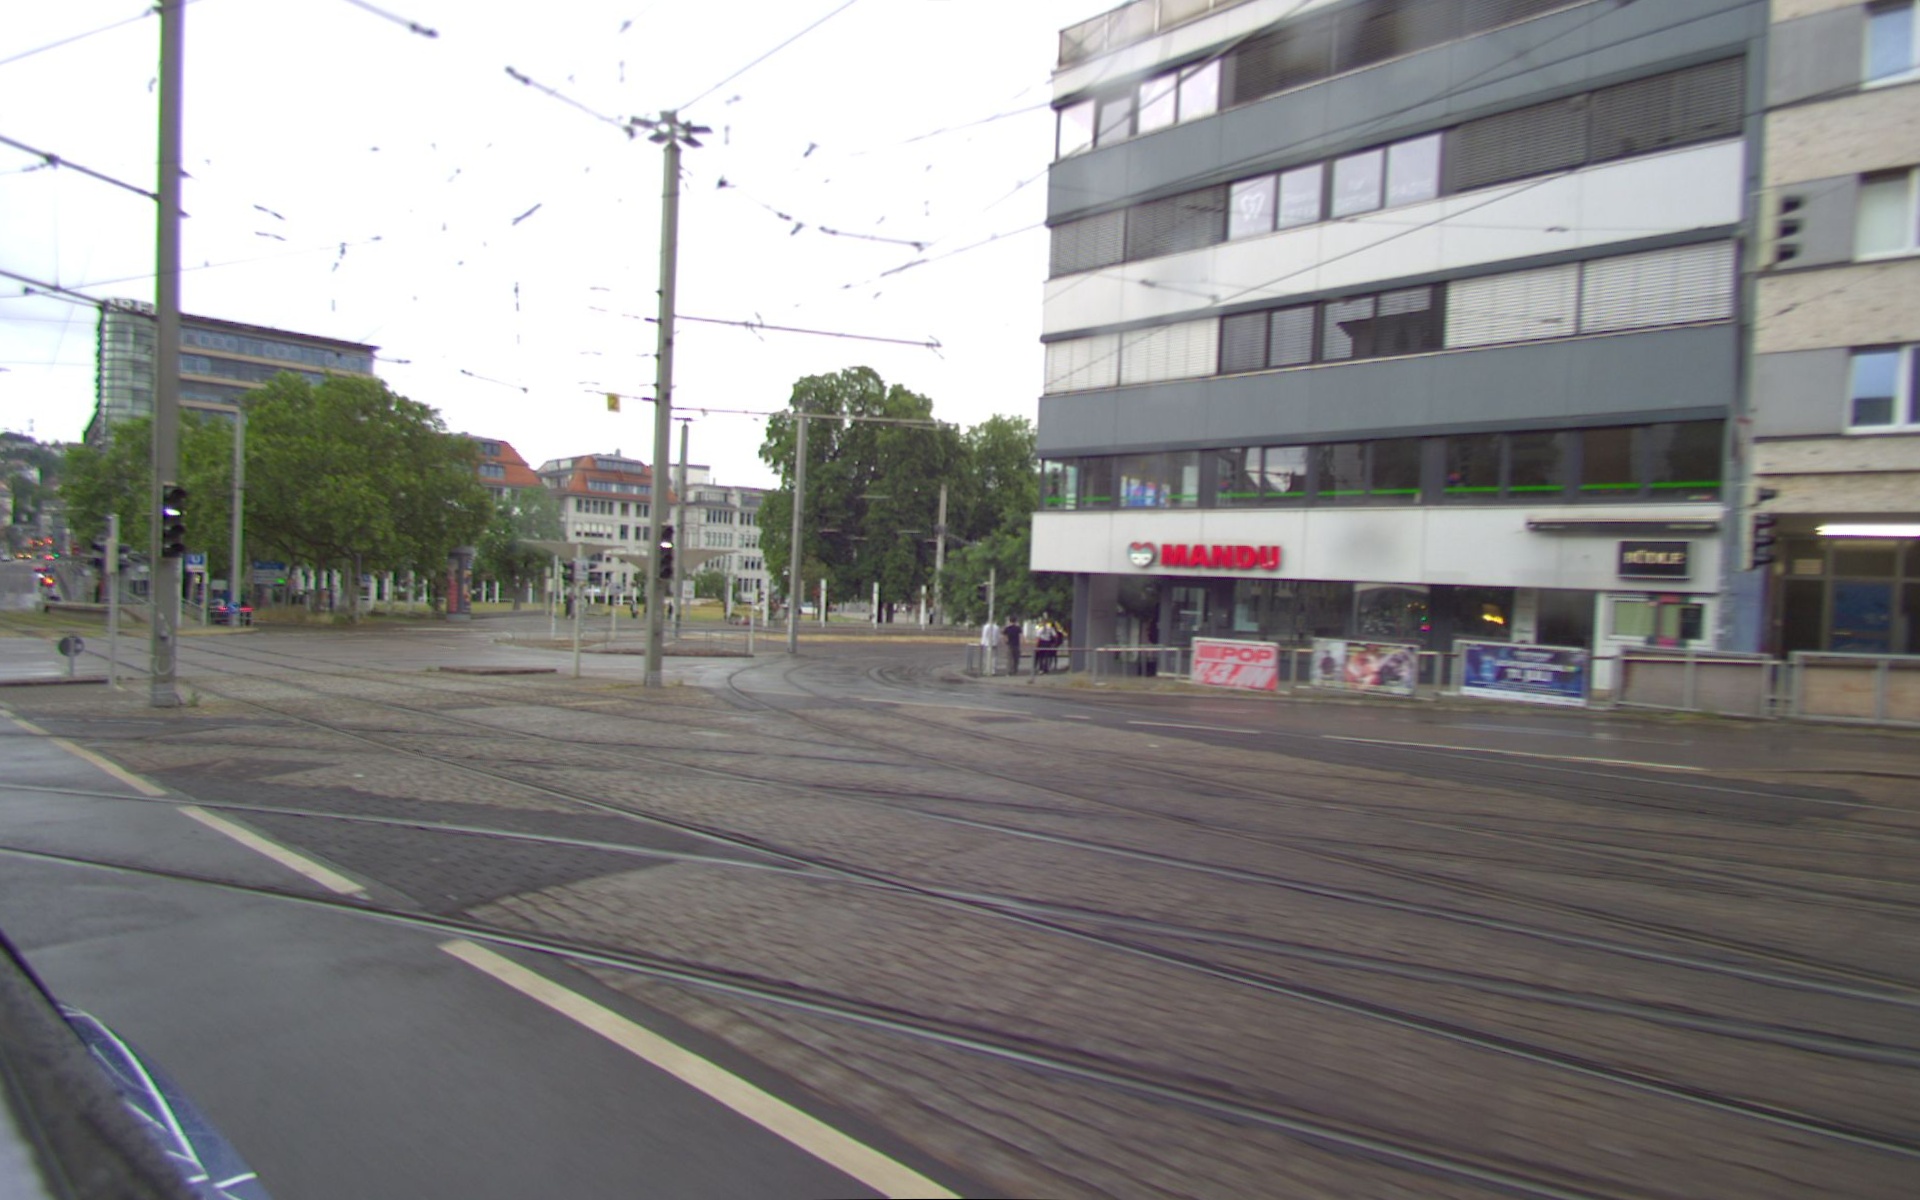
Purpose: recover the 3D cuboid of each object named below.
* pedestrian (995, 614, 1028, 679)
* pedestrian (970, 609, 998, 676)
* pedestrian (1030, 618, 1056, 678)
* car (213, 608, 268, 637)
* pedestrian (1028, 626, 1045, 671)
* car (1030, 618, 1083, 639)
[{"bbox_3d":[1.570,1.391,30.751,0.698,1.928,0.709,1,0,41],"label":"pedestrian"},{"bbox_3d":[0.712,1.241,29.650,0.687,1.928,0.720,1,0,-7],"label":"pedestrian"},{"bbox_3d":[2.539,1.457,30.915,0.688,1.775,0.719,1,0,0],"label":"pedestrian"},{"bbox_3d":[-41.874,1.288,58.844,2.073,1.517,4.738,1,0,-42],"label":"car"},{"bbox_3d":[2.758,1.737,36.525,0.535,1.575,0.522,1,0,-4],"label":"pedestrian"},{"bbox_3d":[8.170,2.381,85.183,4.469,1.658,2.002,1,0,-44],"label":"car"}]
